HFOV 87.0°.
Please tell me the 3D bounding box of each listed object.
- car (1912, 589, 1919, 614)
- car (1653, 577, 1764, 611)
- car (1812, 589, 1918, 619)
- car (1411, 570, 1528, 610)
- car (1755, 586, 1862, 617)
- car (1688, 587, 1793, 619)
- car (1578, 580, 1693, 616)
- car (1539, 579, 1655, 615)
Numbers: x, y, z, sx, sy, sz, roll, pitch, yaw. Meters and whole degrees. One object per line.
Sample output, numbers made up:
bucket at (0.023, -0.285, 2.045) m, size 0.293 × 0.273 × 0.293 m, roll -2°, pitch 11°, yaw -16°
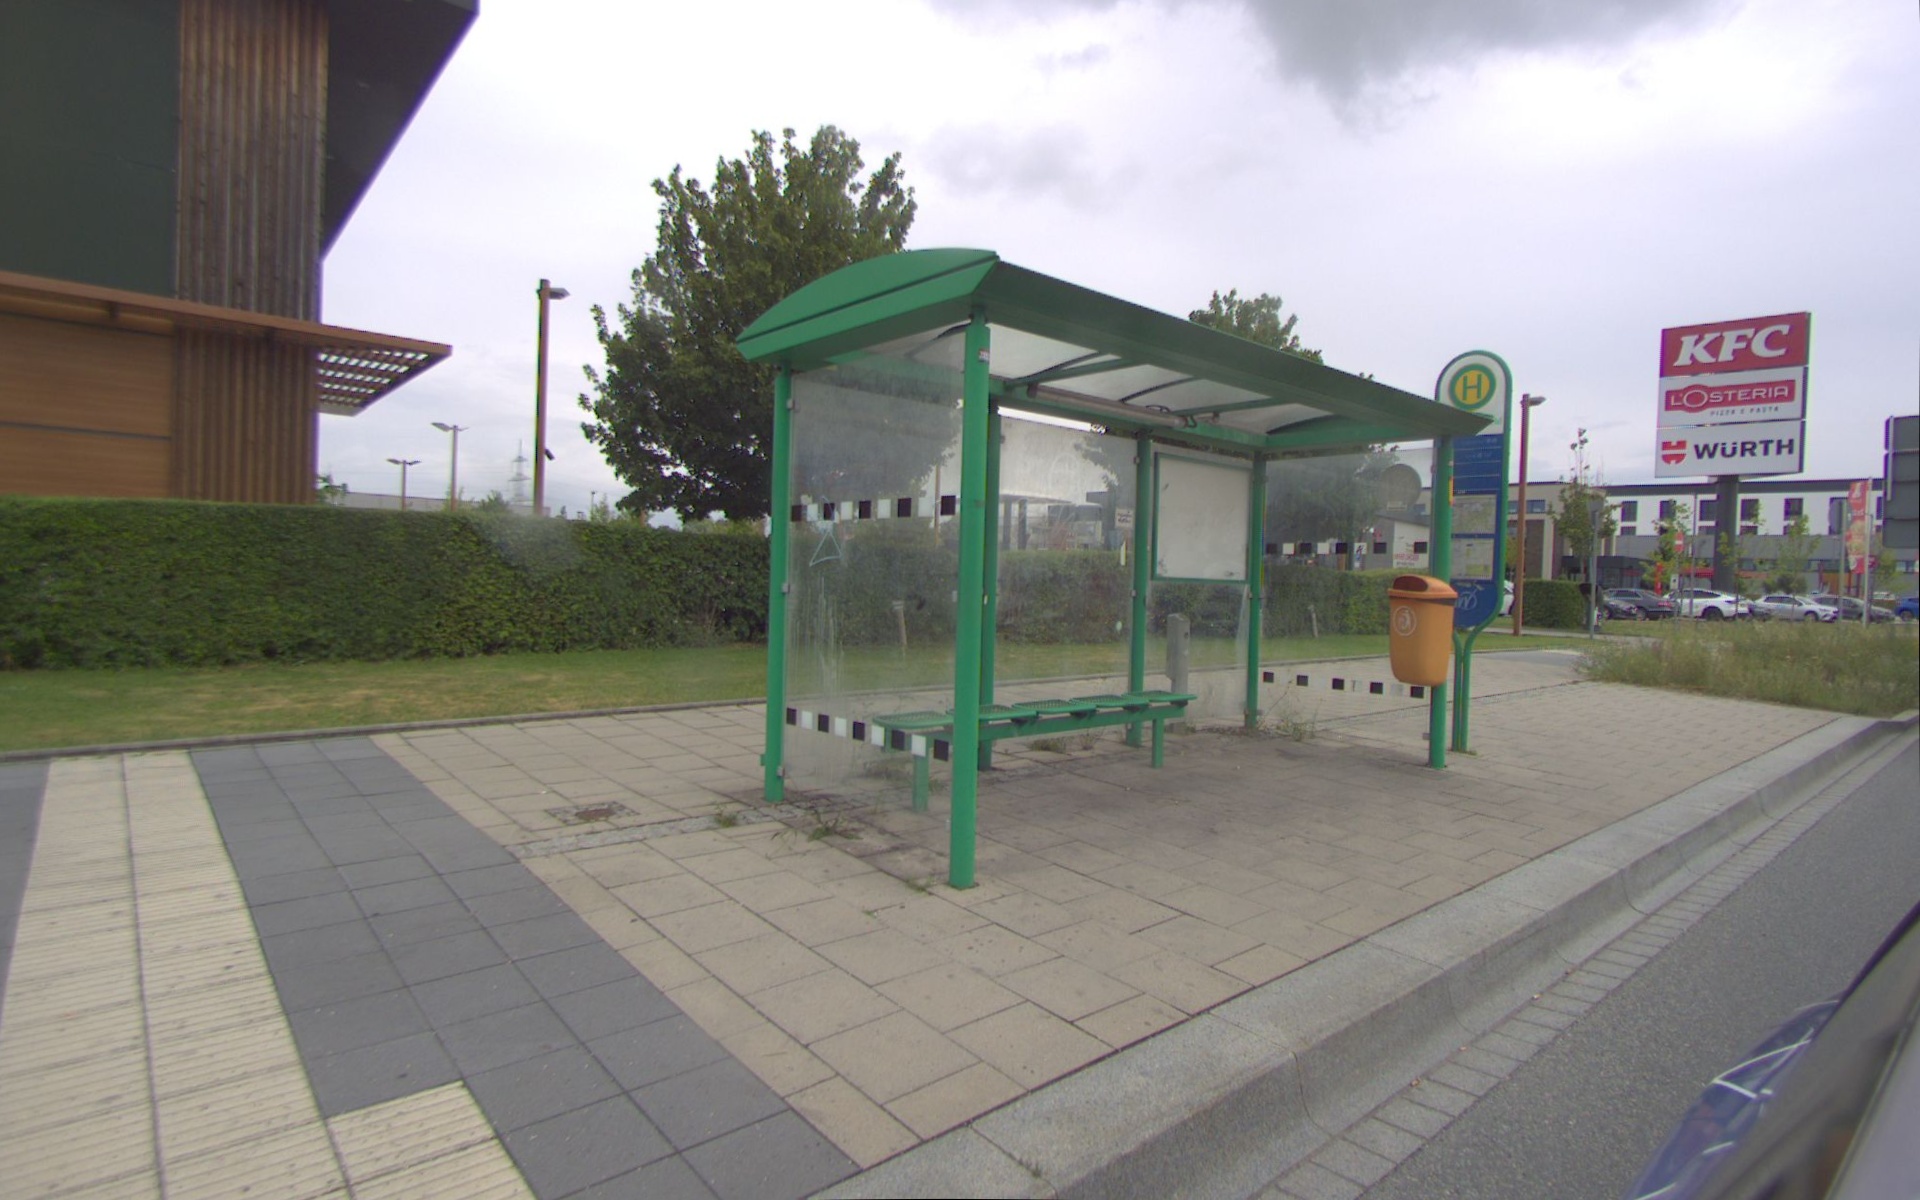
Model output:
car at (59.209, 0.073, 59.733) m, size 1.809 × 1.505 × 4.007 m, roll 0°, pitch 1°, yaw -23°
car at (37.100, -0.336, 50.240) m, size 1.811 × 1.541 × 4.004 m, roll 1°, pitch 2°, yaw -32°
car at (50.261, 0.211, 56.299) m, size 1.809 × 1.504 × 4.007 m, roll 1°, pitch 2°, yaw -28°
car at (21.538, -0.447, 42.899) m, size 1.814 × 1.546 × 3.996 m, roll 0°, pitch 2°, yaw -39°
car at (45.803, 0.072, 54.717) m, size 1.809 × 1.504 × 4.007 m, roll 1°, pitch 2°, yaw -28°
car at (41.067, 0.137, 53.343) m, size 1.811 × 1.504 × 4.003 m, roll 1°, pitch 2°, yaw -32°
car at (31.191, -0.105, 46.813) m, size 1.811 × 1.504 × 4.004 m, roll 1°, pitch 2°, yaw -32°
car at (28.690, -0.157, 45.676) m, size 1.811 × 1.504 × 4.004 m, roll 1°, pitch 2°, yaw -32°
